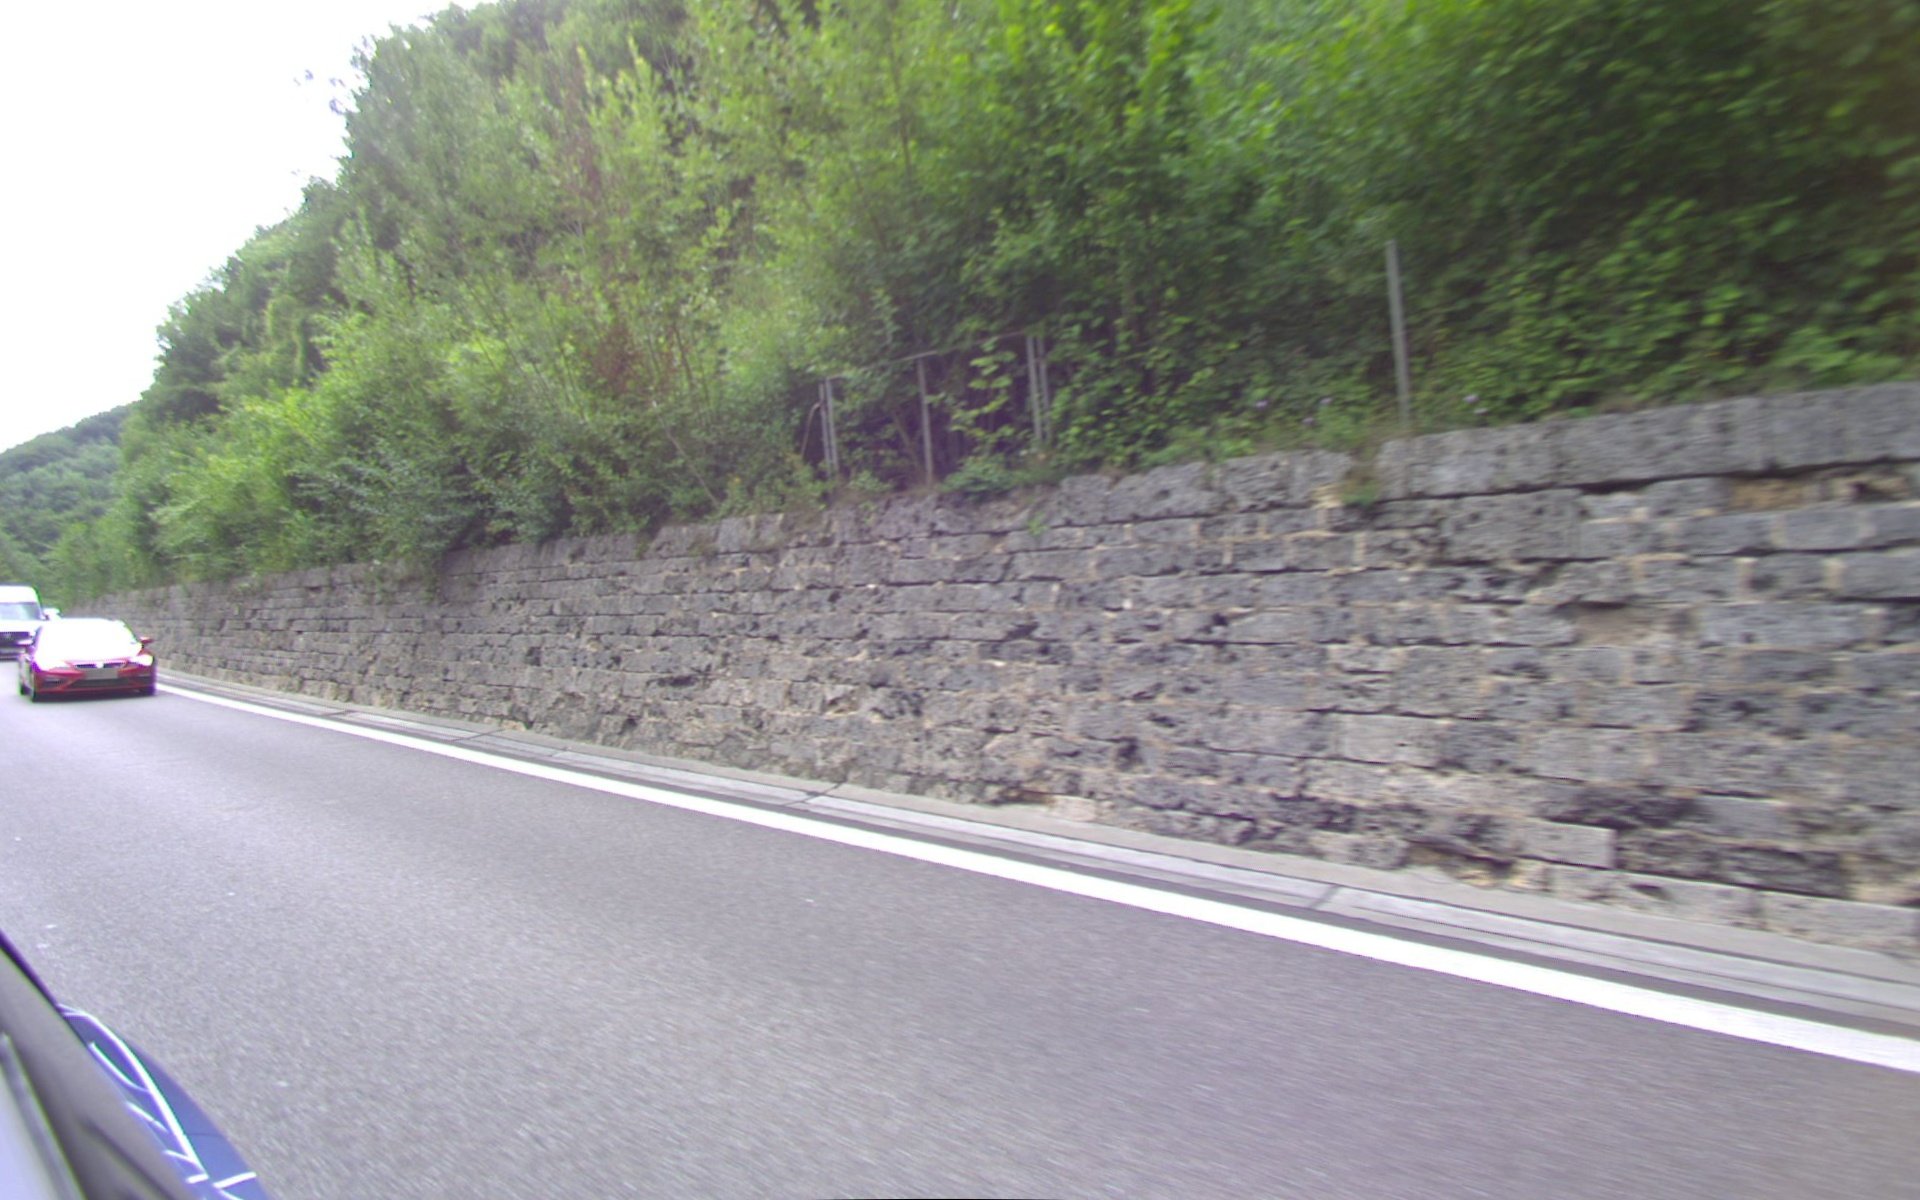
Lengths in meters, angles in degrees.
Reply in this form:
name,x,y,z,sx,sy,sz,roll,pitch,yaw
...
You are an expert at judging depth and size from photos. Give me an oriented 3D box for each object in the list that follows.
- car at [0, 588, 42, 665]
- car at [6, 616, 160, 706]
name,x,y,z,sx,sy,sz,roll,pitch,yaw
car,-34.348,0.935,36.205,2.002,2.605,6.279,0,0,-44
car,-16.590,1.062,19.069,4.411,1.471,1.747,-1,0,43
